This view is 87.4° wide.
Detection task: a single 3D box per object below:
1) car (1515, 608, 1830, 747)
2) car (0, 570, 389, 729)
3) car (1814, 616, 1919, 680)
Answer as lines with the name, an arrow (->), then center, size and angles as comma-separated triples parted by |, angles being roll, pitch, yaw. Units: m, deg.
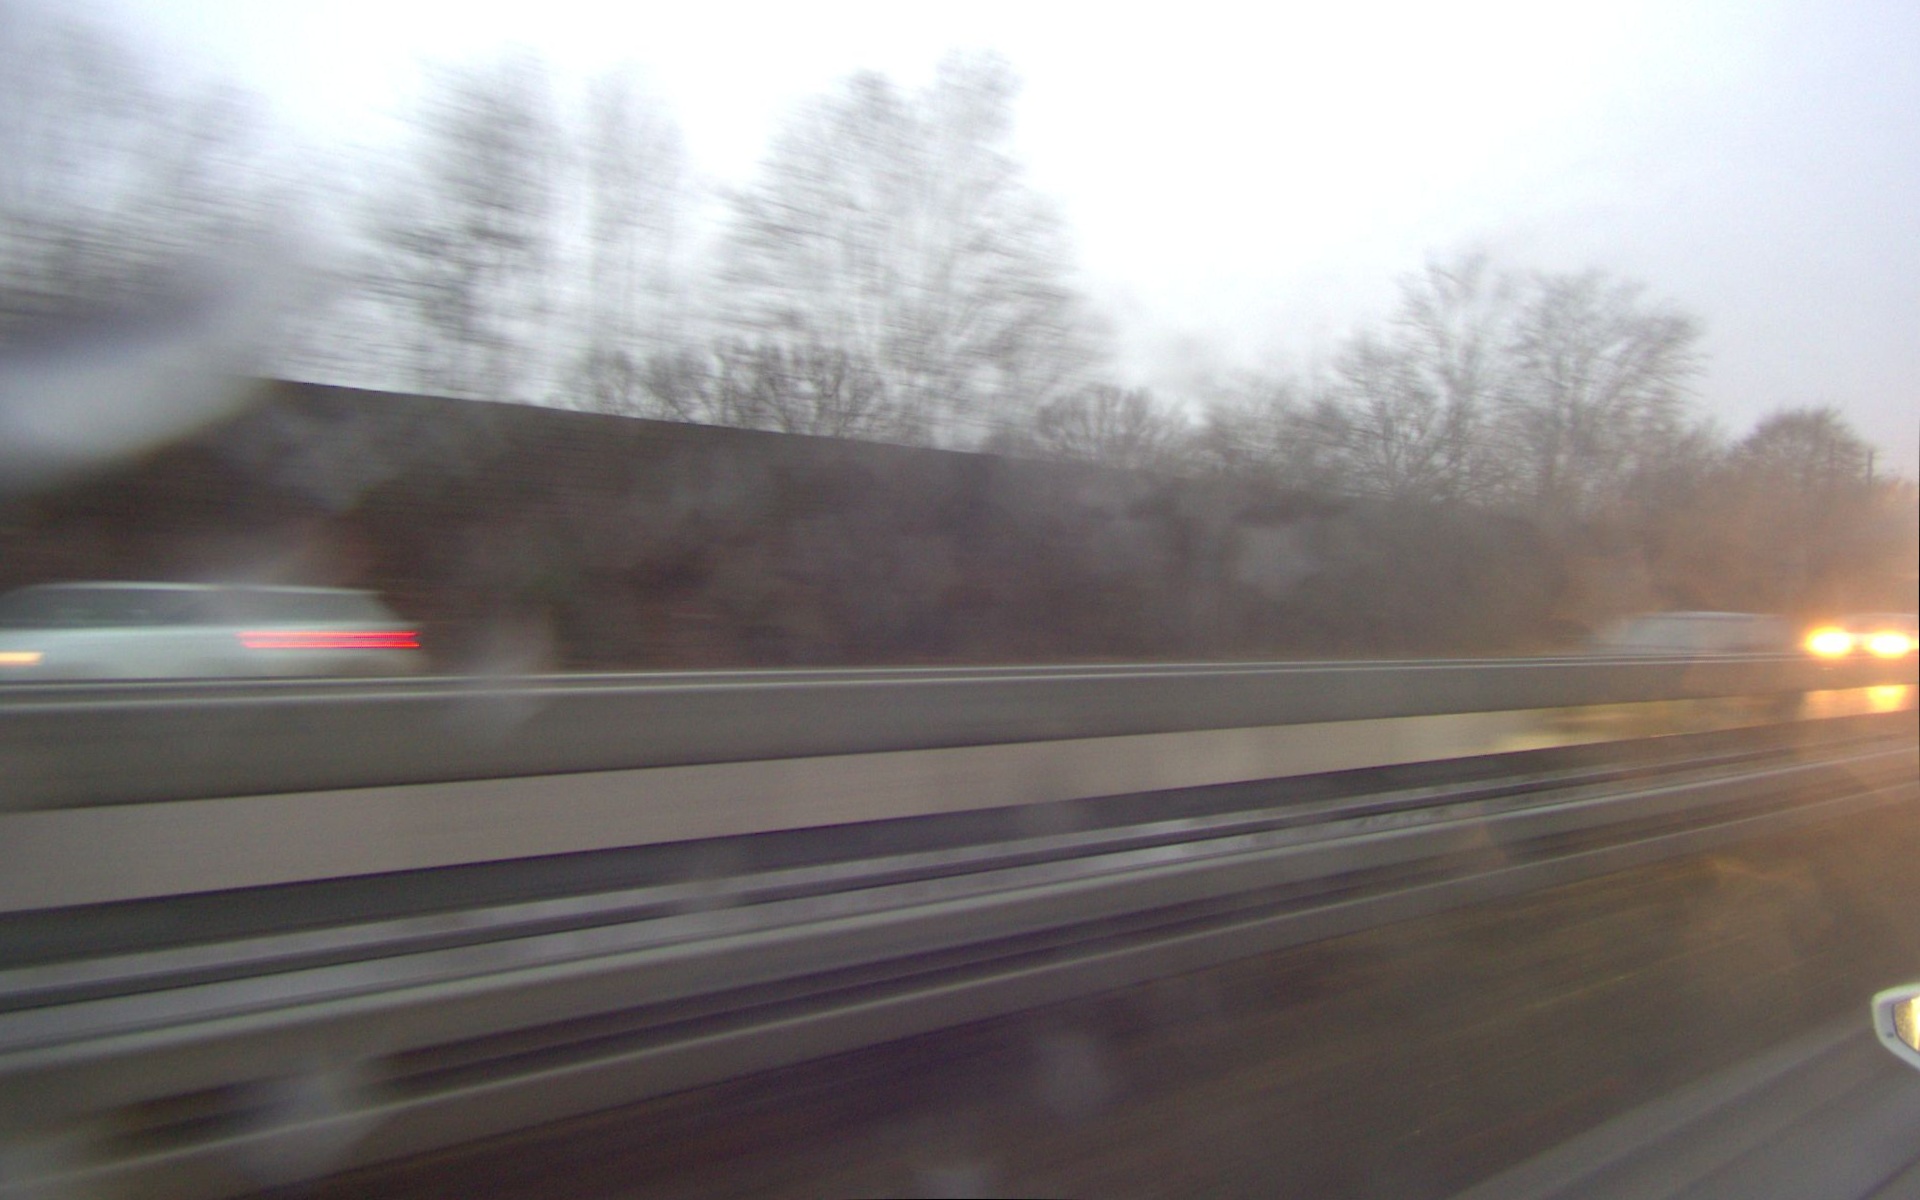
car -> 8.992, 0.904, 12.618 | 3.954, 1.460, 1.745 | 2, 0, -31
car -> -8.830, 0.518, 11.382 | 4.065, 1.559, 1.854 | 2, 0, -30
car -> 26.566, 1.370, 28.927 | 4.383, 1.688, 1.683 | 2, 0, -32
